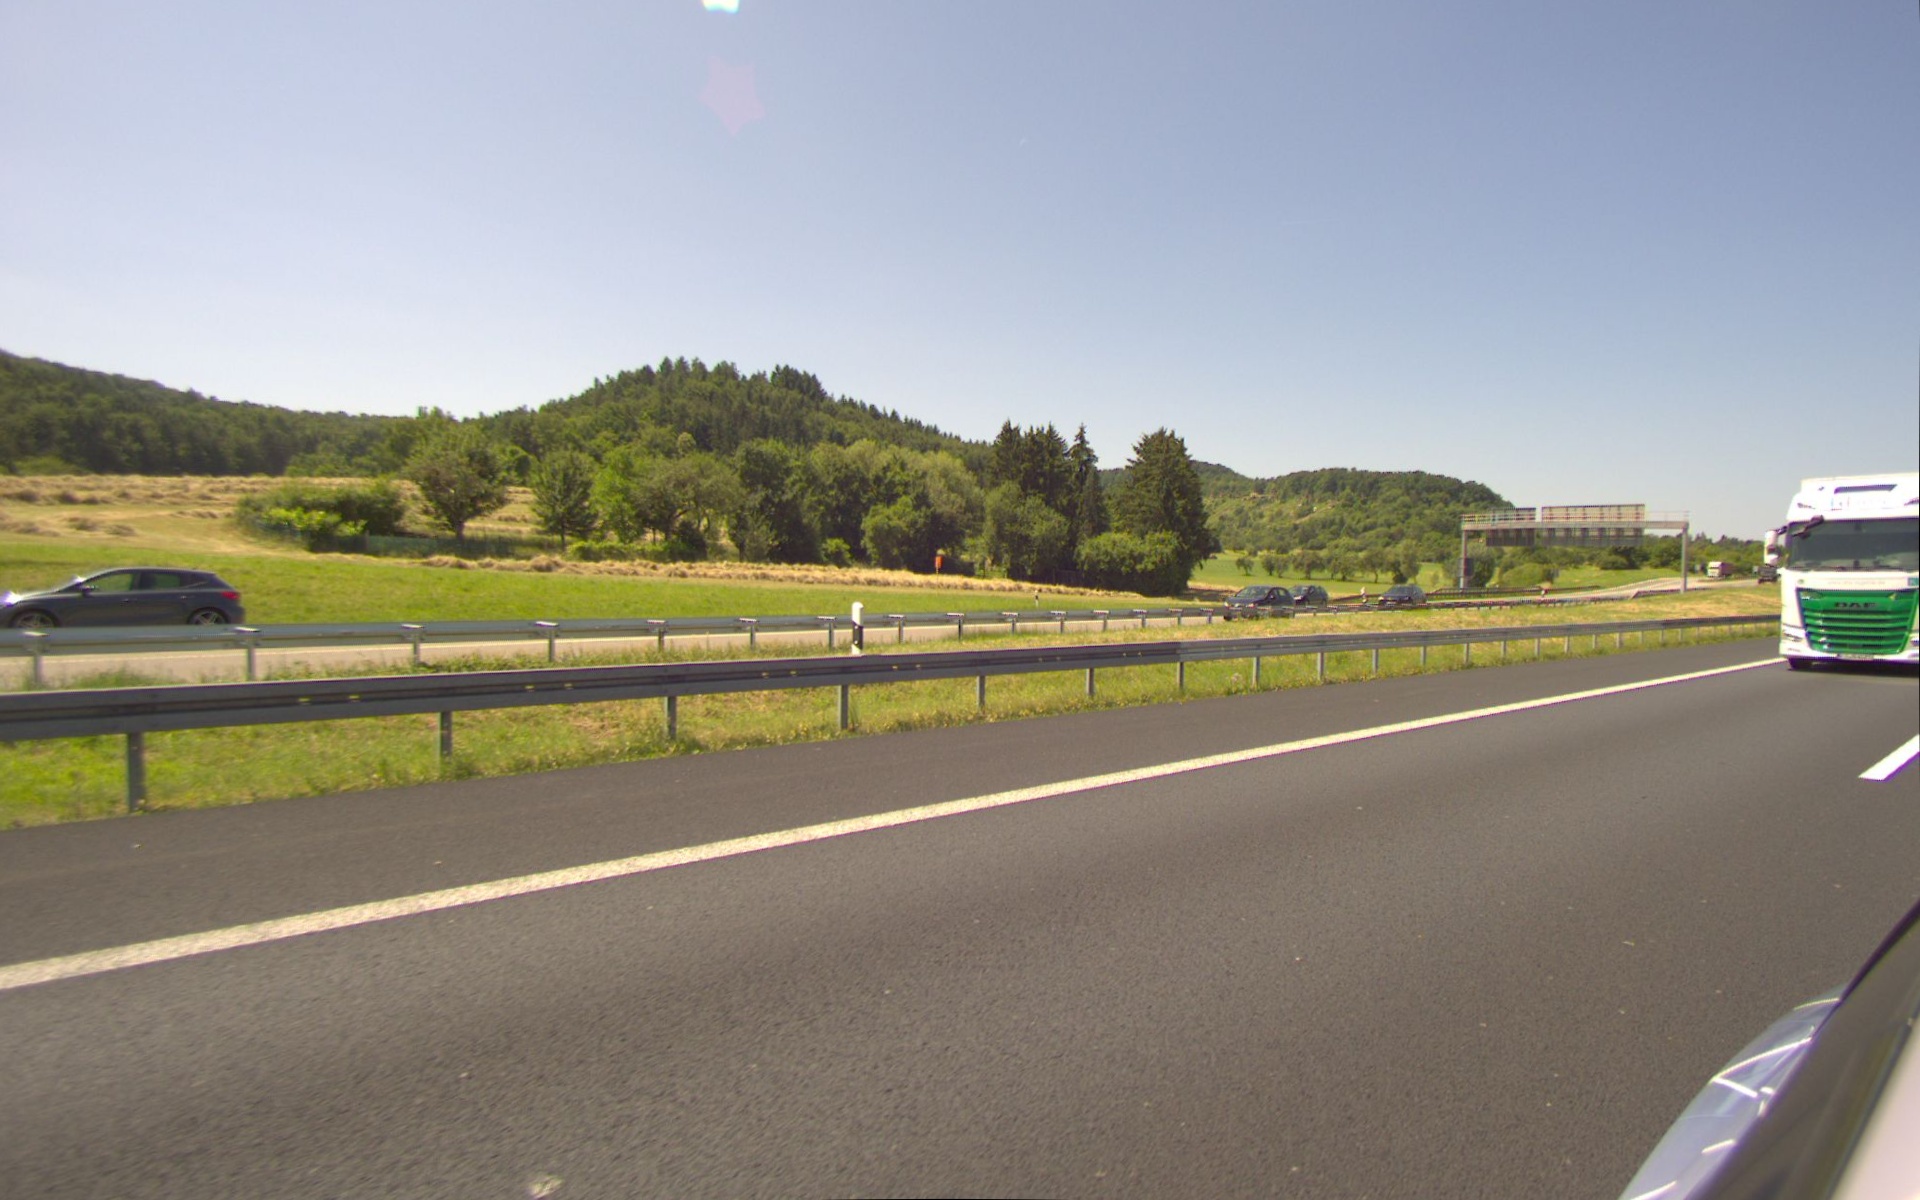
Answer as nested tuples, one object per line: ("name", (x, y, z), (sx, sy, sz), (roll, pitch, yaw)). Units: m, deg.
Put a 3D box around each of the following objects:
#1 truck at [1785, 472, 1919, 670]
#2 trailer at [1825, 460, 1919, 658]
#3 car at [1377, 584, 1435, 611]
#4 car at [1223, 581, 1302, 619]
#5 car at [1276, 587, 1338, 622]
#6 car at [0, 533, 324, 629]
("truck", (18.807, -0.561, 20.448), (4.328, 3.638, 2.646), (-1, 0, -41))
("trailer", (25.943, -0.937, 26.683), (14.635, 4.241, 2.660), (-1, 0, -41))
("car", (25.956, -0.157, 58.889), (1.887, 1.491, 3.805), (0, 1, 44))
("car", (11.952, -0.037, 39.841), (1.773, 1.417, 3.709), (0, 1, 38))
("car", (20.874, 0.228, 60.783), (1.994, 2.039, 3.936), (0, 0, 45))
("car", (-15.844, -0.364, 20.104), (5.143, 1.683, 1.994), (-1, 1, -45))
